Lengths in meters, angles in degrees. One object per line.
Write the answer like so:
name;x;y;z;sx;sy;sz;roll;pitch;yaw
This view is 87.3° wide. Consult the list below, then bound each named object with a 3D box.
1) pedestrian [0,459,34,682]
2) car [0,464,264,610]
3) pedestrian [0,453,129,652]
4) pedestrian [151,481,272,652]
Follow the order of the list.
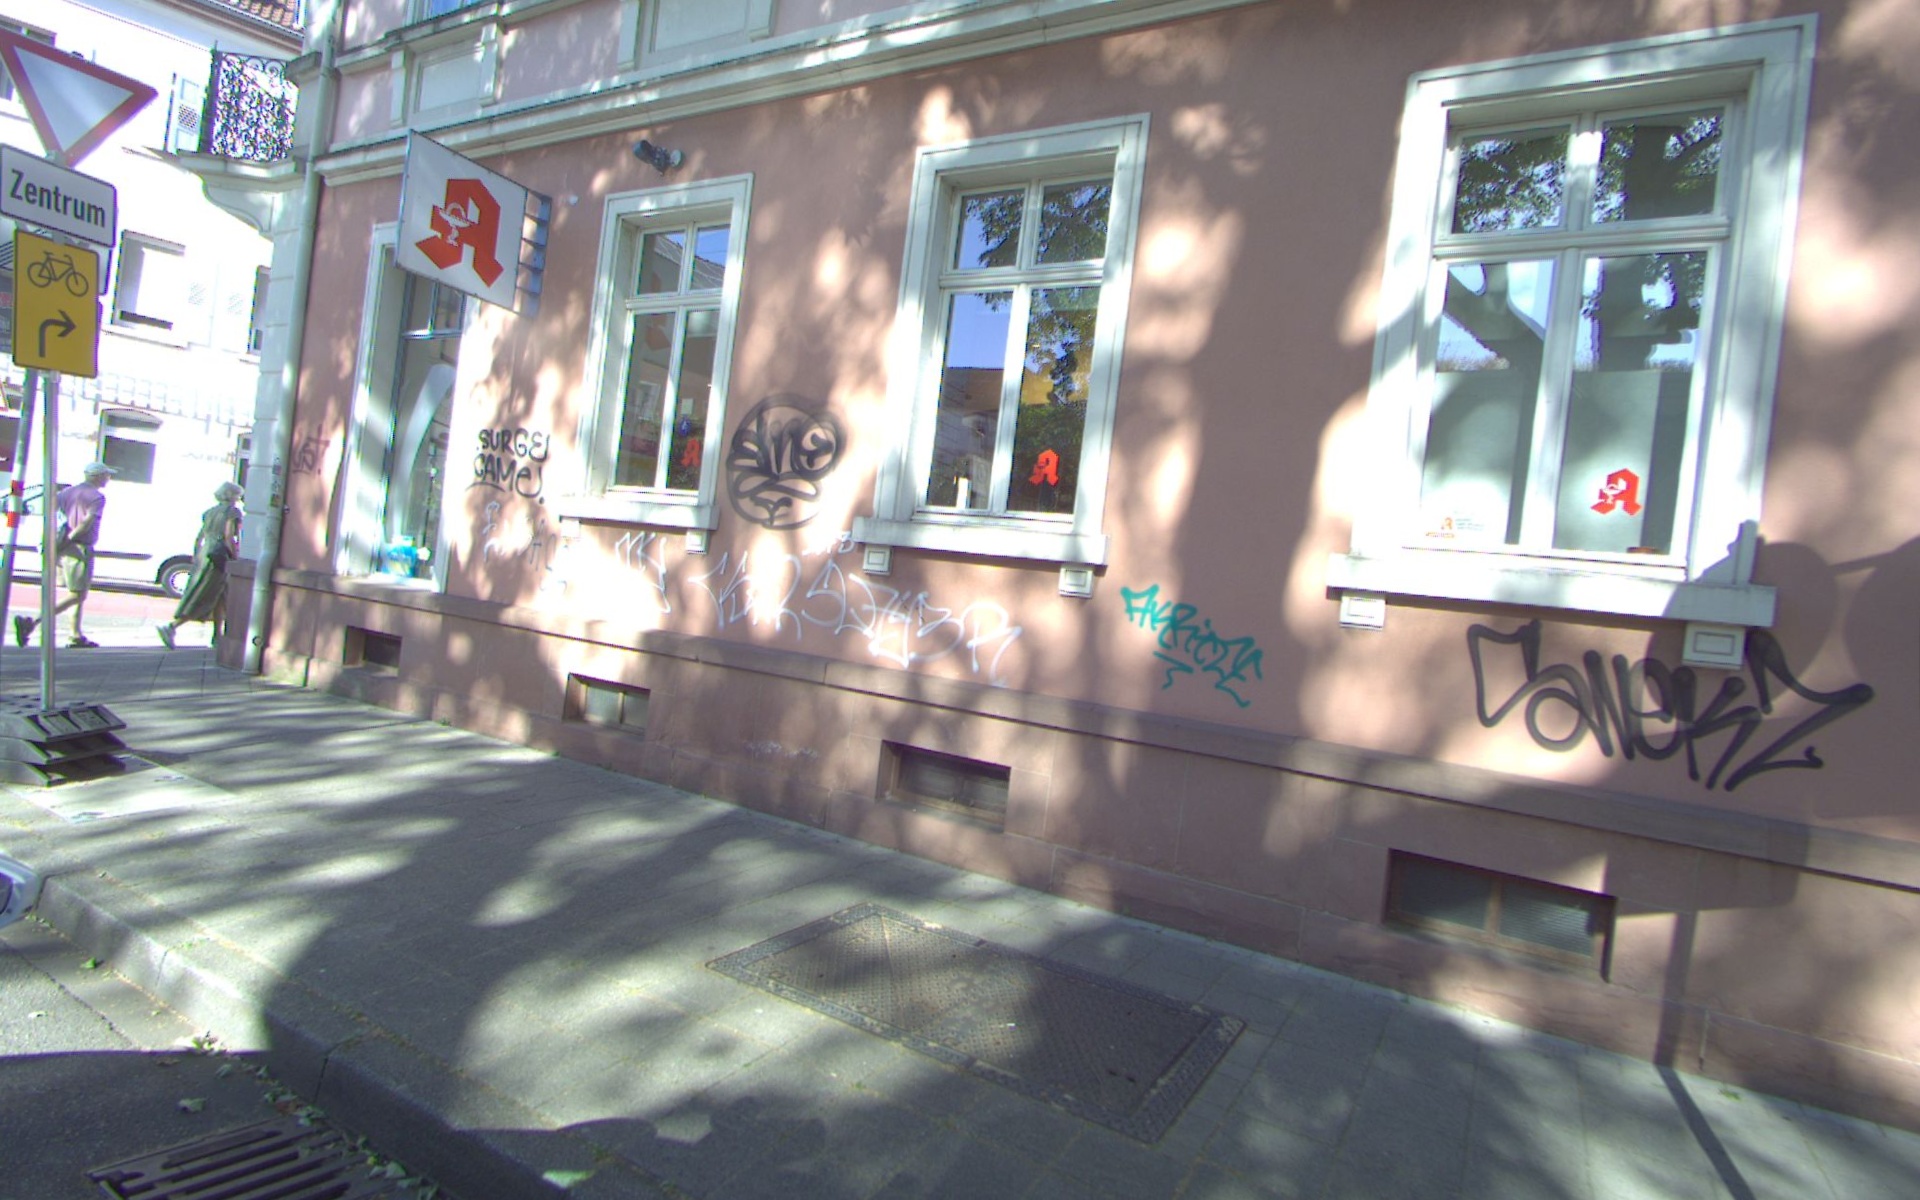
pedestrian;-7.332;-0.236;7.199;0.832;1.596;0.843;6;4;31
car;-15.347;-1.152;17.623;4.984;1.969;2.030;8;-1;-37
pedestrian;-8.567;-0.437;9.556;0.817;1.788;0.750;5;2;31
pedestrian;-7.777;-0.337;10.465;0.616;1.689;0.835;3;2;31
